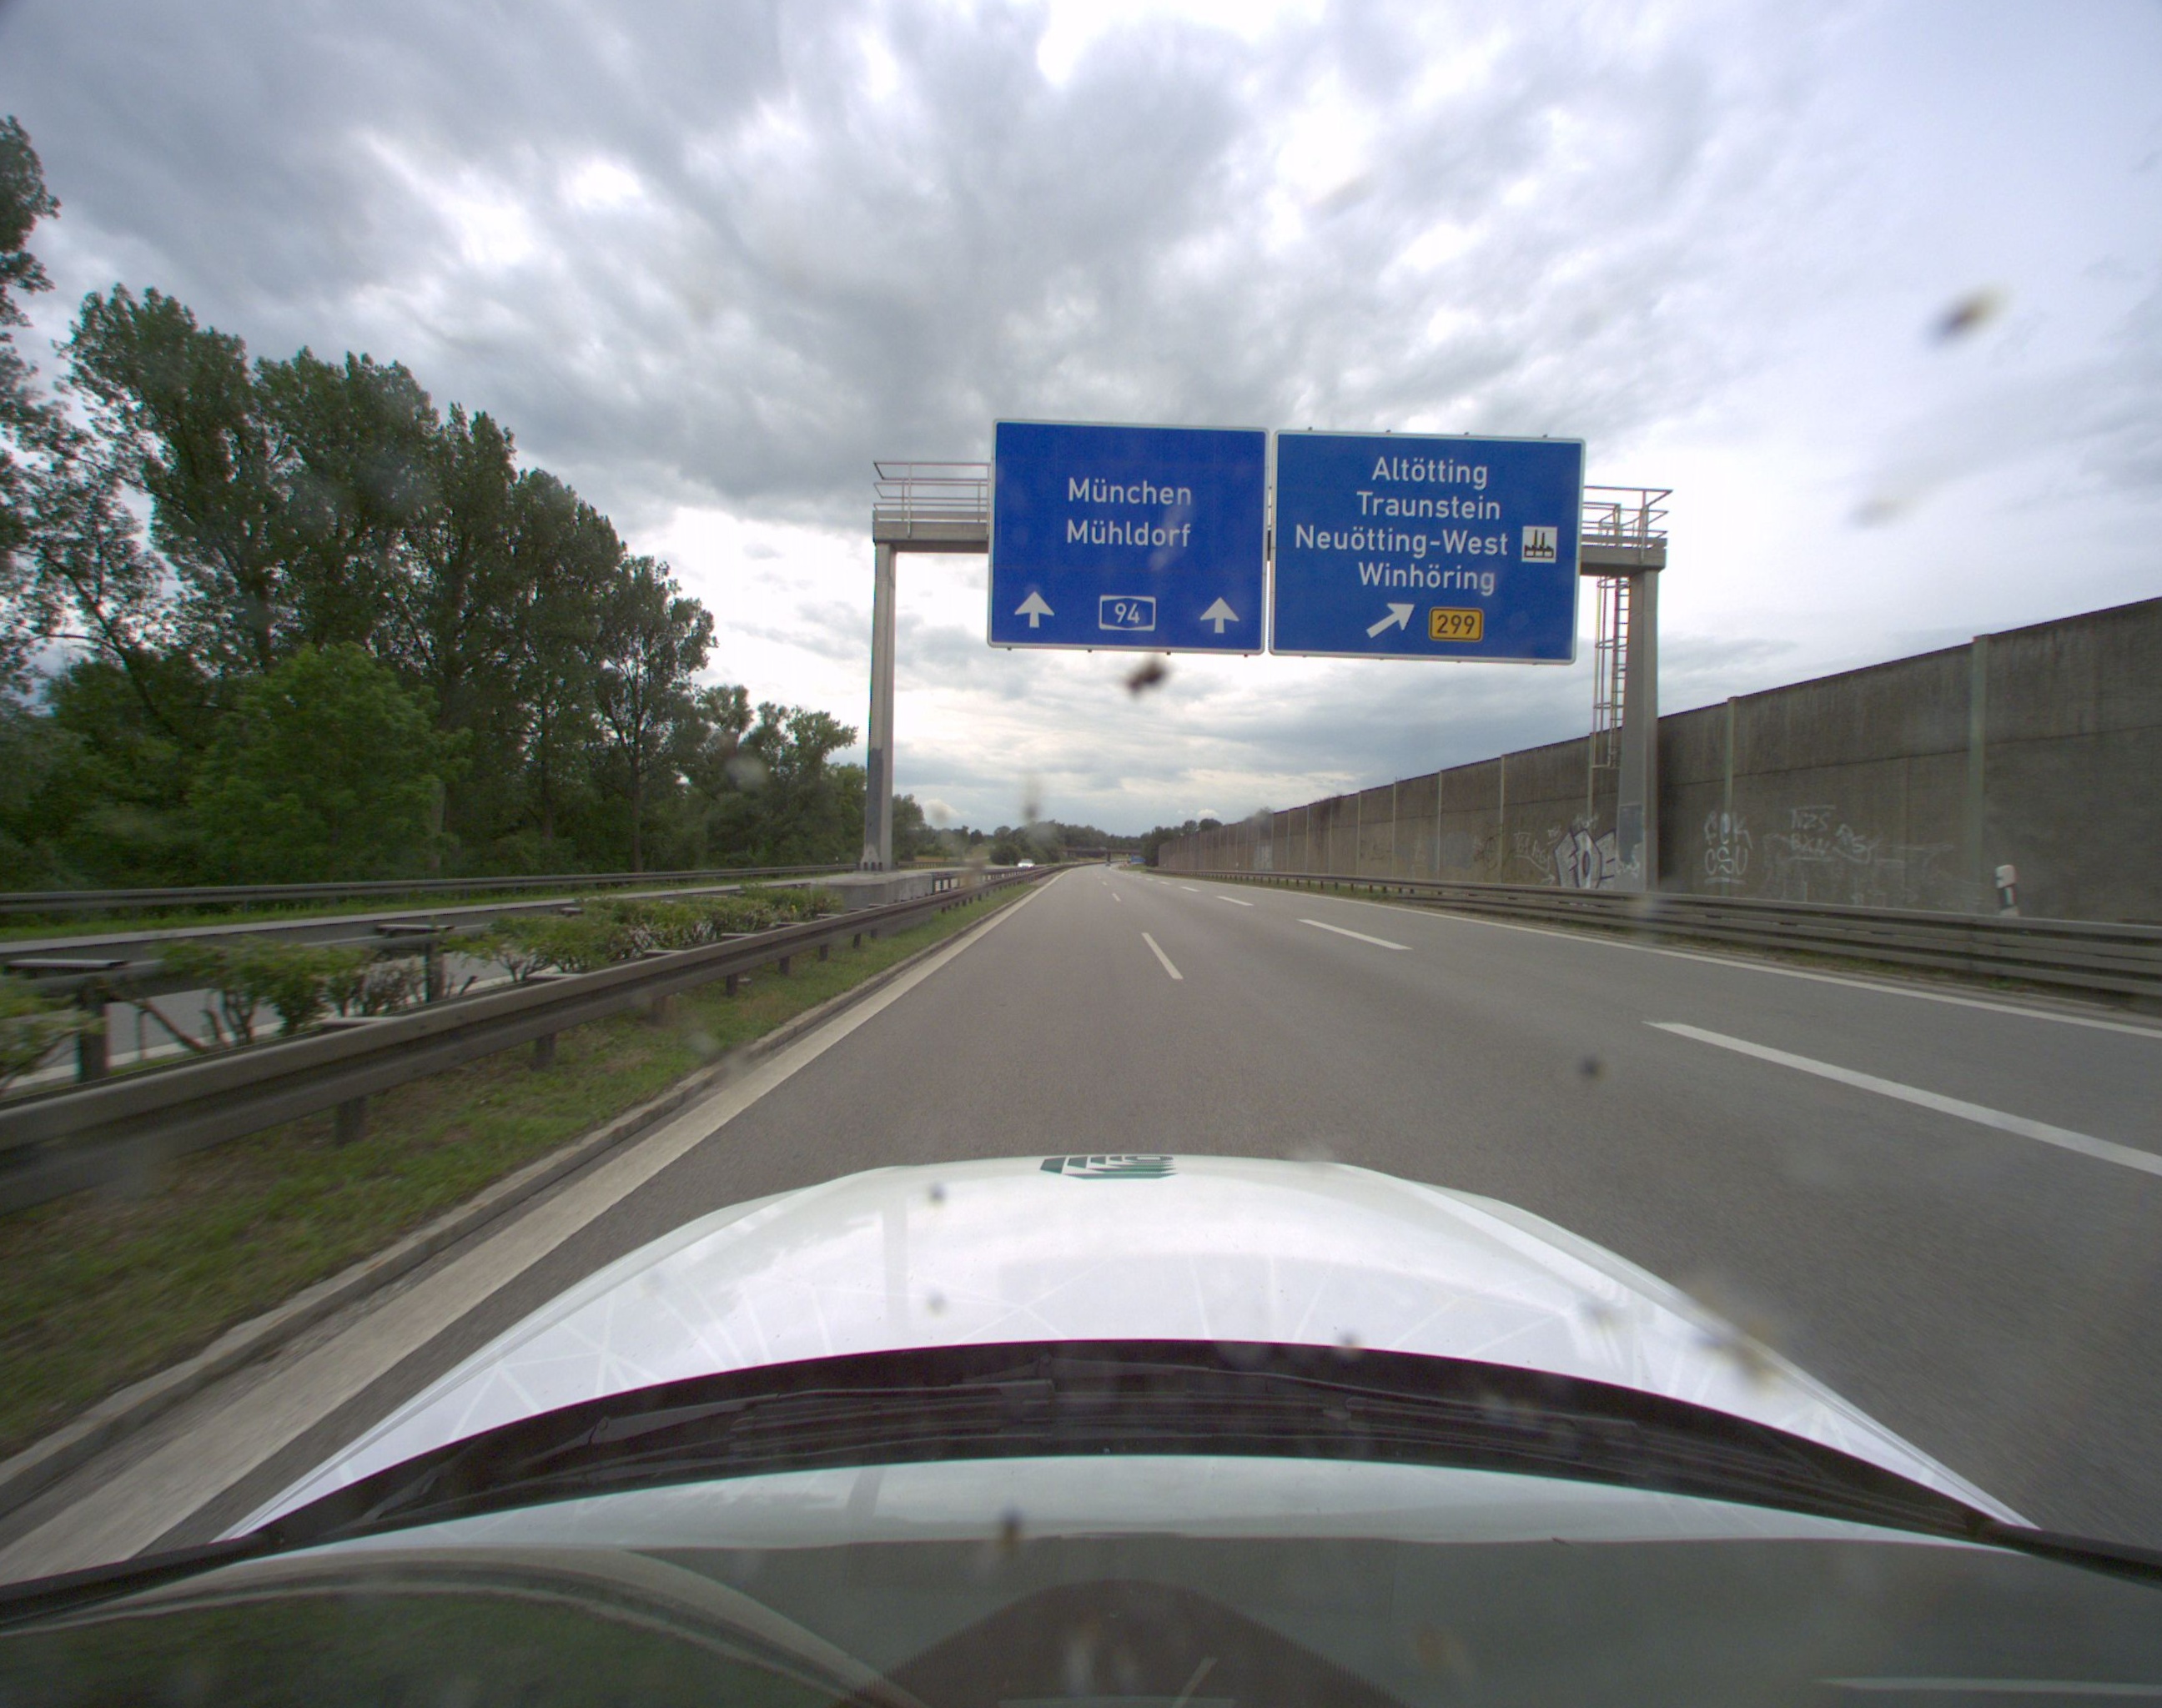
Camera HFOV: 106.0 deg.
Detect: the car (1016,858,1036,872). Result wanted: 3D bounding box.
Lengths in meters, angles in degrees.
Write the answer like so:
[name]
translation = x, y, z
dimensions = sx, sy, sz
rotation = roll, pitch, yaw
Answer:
[car]
translation = -6.882, 1.338, 101.821
dimensions = 1.986, 1.615, 5.029
rotation = 1, 0, 1
